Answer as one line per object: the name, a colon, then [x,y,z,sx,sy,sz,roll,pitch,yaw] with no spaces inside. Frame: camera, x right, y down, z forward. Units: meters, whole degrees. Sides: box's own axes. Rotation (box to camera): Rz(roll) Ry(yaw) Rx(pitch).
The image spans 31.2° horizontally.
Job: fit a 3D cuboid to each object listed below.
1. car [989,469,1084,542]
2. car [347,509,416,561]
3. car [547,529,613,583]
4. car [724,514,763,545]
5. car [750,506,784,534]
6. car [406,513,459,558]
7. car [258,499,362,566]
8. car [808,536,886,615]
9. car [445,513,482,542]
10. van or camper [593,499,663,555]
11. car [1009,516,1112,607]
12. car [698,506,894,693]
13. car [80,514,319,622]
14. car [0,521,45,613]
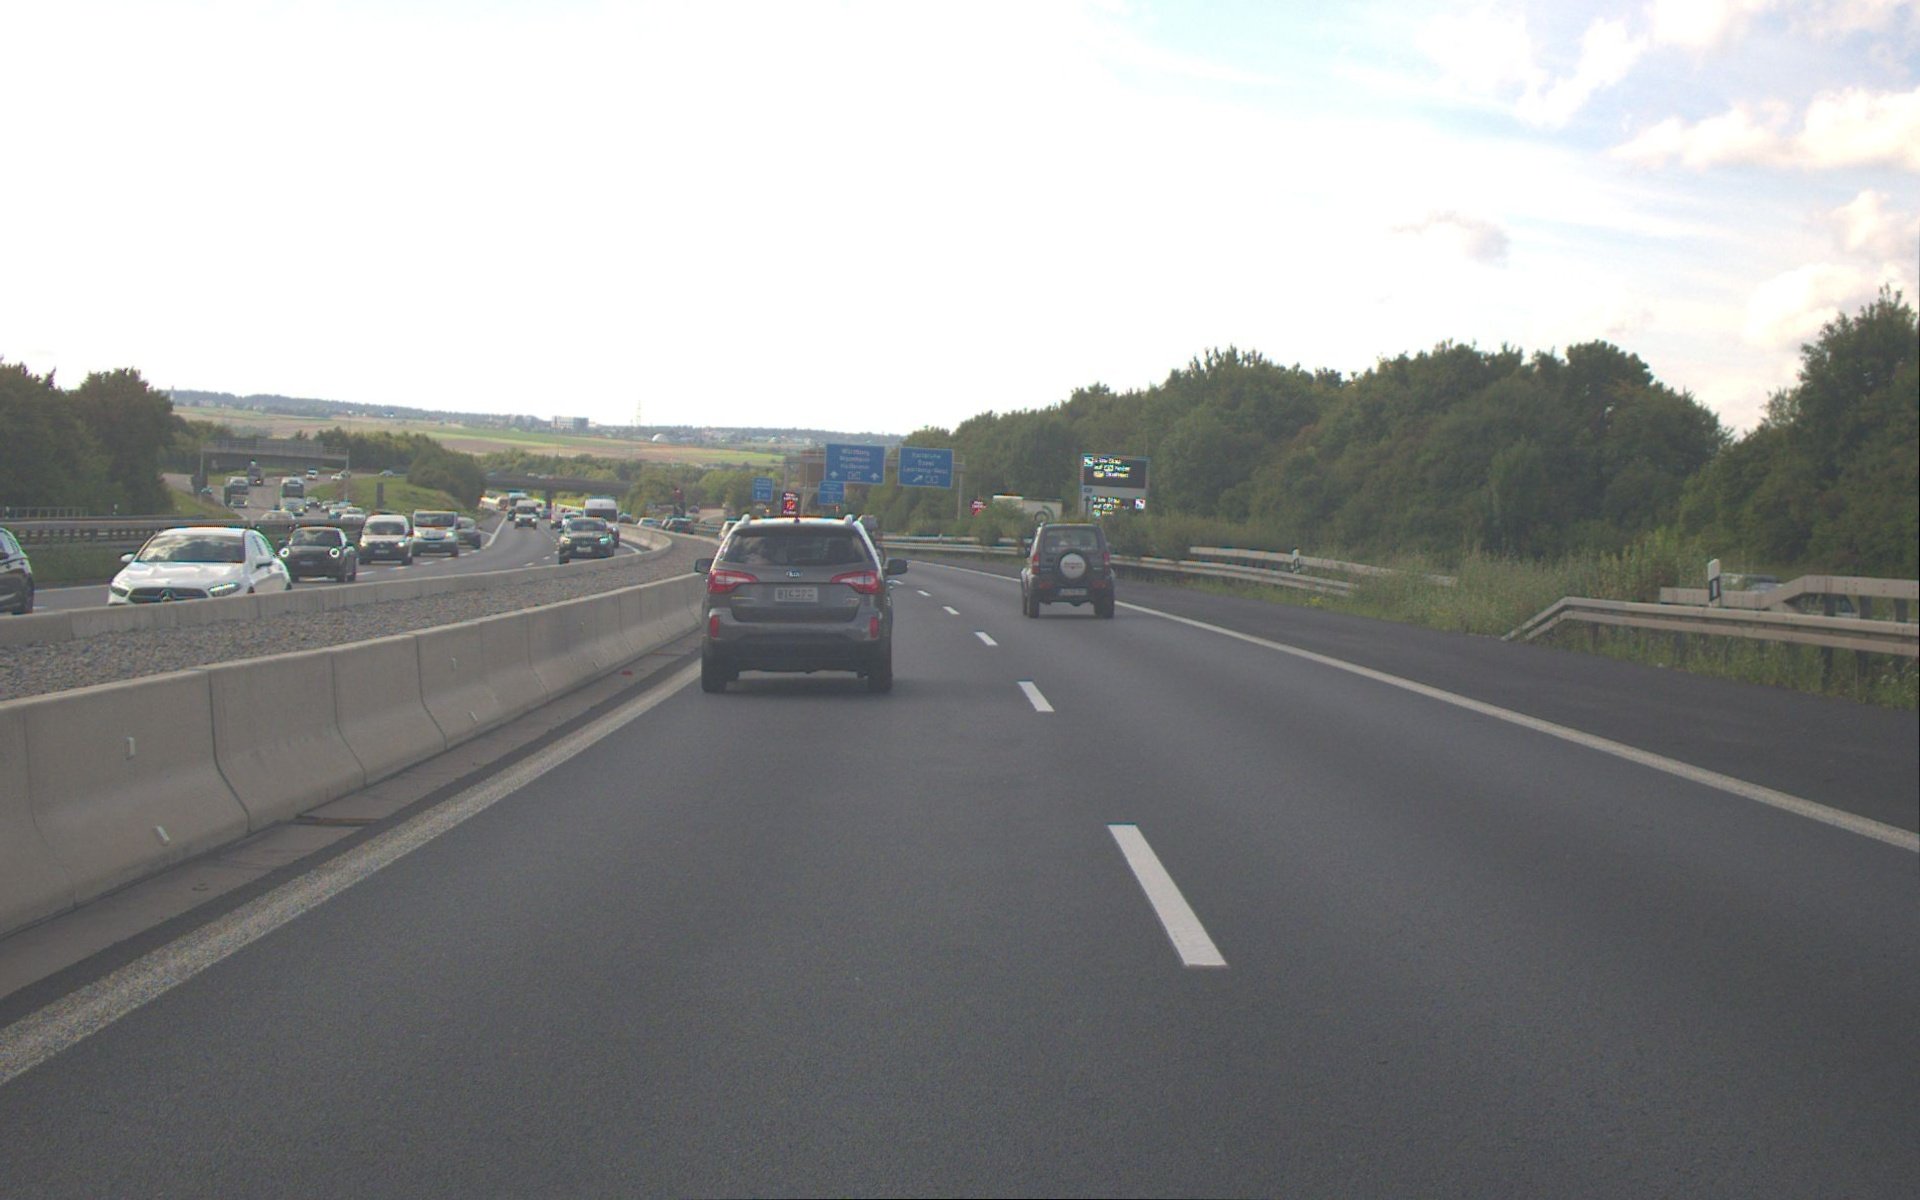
car: [4.892,-6.035,222.409,4.727,4.251,11.406,1,0,-6]
car: [-21.270,-2.400,126.531,1.993,1.808,4.242,1,1,-3]
car: [-14.422,-1.695,130.653,1.993,1.913,5.149,2,1,-1]
car: [-12.967,-4.211,205.732,1.993,1.678,4.001,1,0,-8]
car: [-14.447,-5.964,257.354,1.993,1.922,4.001,1,0,-10]
car: [-22.675,-2.802,147.988,1.914,1.899,5.288,0,1,-5]
car: [-17.153,-1.797,90.925,1.993,1.685,4.373,1,1,-1]
car: [-3.194,-0.726,97.606,2.030,2.144,4.000,1,1,0]
car: [-25.464,-3.727,176.162,1.784,1.412,4.998,1,1,-9]
van or camper: [-18.037,-3.981,187.188,3.335,2.906,7.467,1,1,-2]
car: [1.836,-0.740,63.754,1.587,1.591,4.096,1,1,-2]
car: [-1.615,-0.025,34.930,1.817,1.730,5.187,1,0,-2]
car: [-10.130,-0.458,46.225,2.046,1.333,5.609,1,1,-1]
car: [-14.757,-0.495,49.949,1.868,1.333,4.229,1,1,-1]
